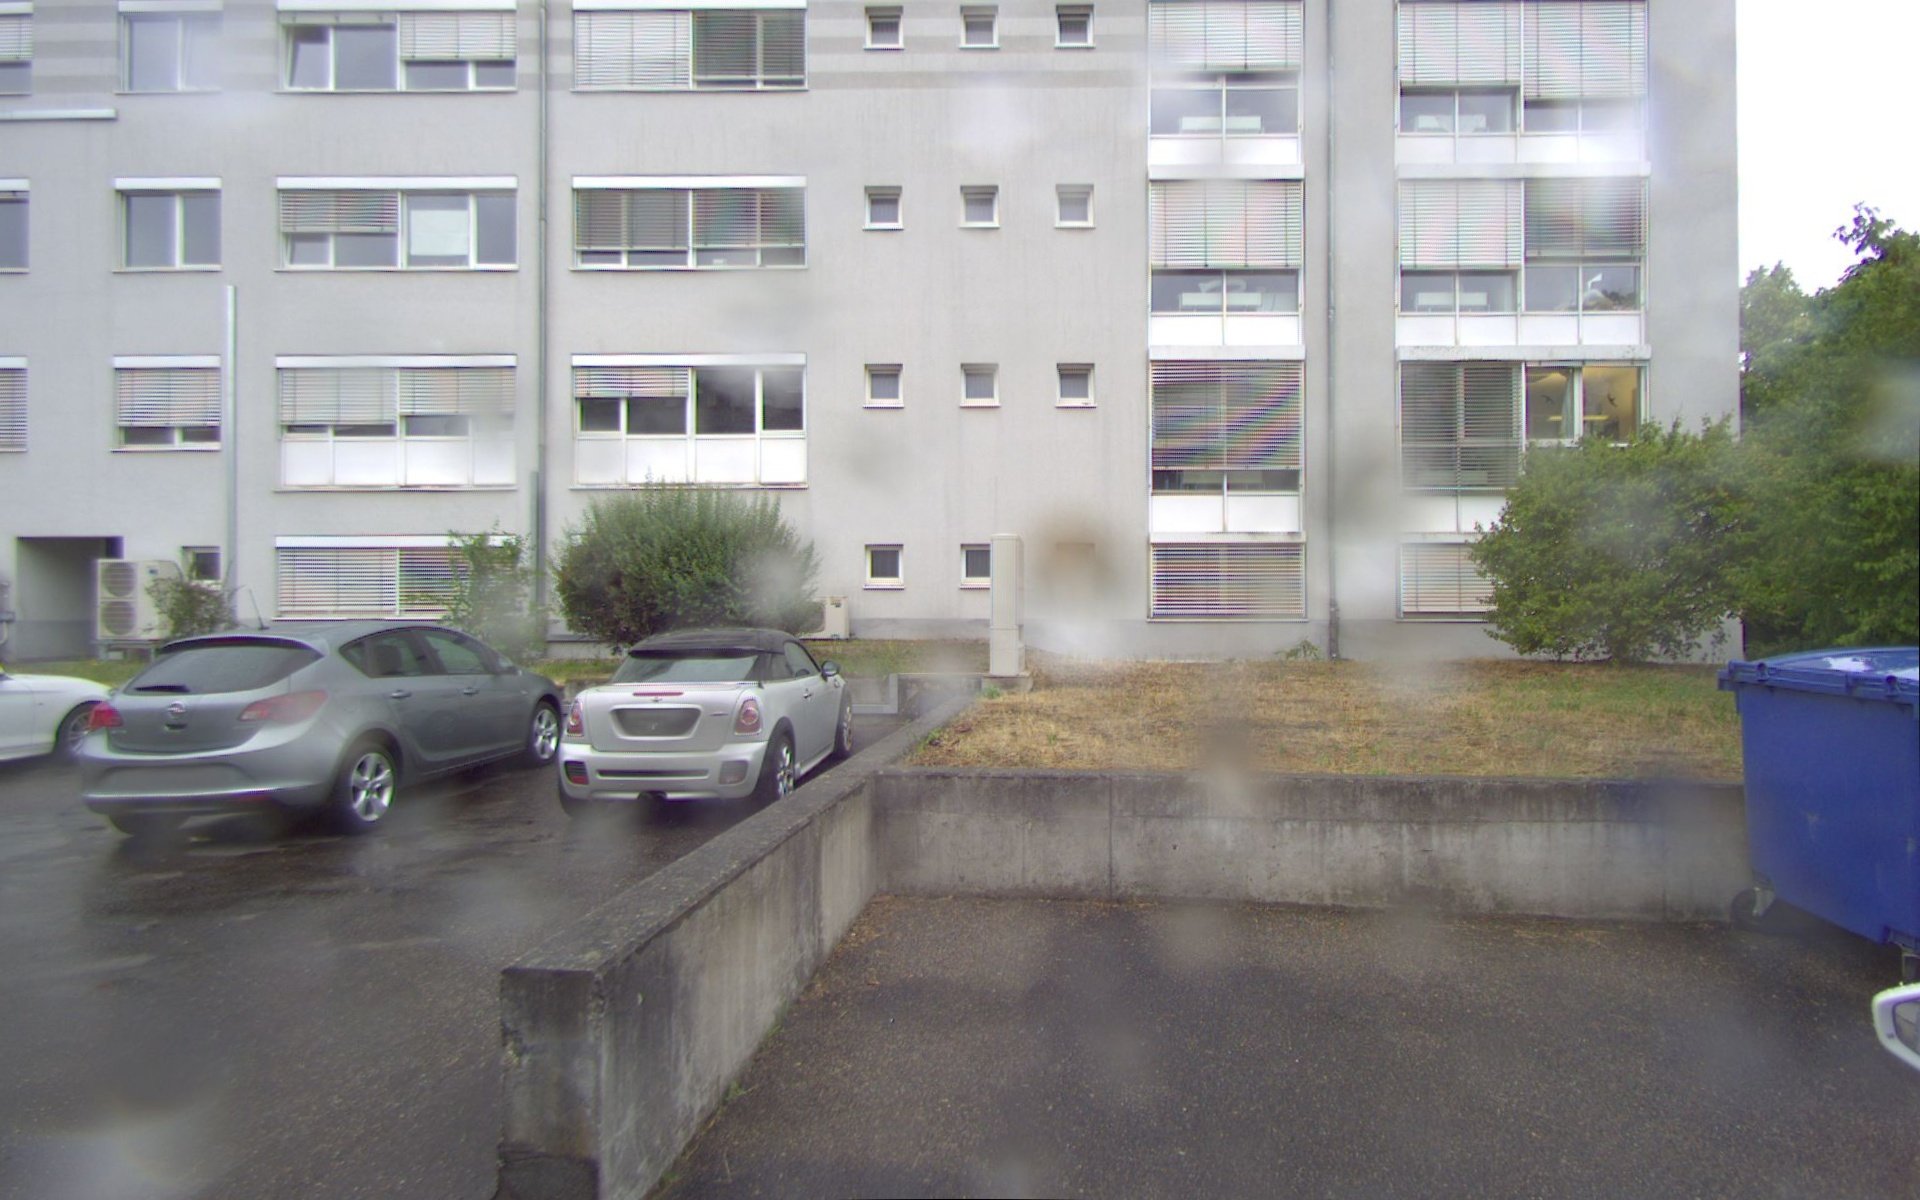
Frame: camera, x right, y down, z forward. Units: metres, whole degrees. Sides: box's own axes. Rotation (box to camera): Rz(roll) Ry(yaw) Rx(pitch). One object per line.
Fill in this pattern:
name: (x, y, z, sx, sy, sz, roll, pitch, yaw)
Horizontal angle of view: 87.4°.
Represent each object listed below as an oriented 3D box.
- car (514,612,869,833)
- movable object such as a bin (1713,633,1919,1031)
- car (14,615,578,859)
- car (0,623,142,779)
car: (-2.036, 0.872, 8.980, 1.785, 1.351, 4.180, -1, 1, 4)
movable object such as a bin: (4.055, 0.850, 4.100, 1.094, 1.355, 1.207, -2, 1, 8)
car: (-4.951, 0.893, 8.354, 1.786, 1.503, 4.180, -1, -1, 2)
car: (-9.913, 0.950, 8.950, 1.718, 1.452, 4.154, 0, -1, 2)
